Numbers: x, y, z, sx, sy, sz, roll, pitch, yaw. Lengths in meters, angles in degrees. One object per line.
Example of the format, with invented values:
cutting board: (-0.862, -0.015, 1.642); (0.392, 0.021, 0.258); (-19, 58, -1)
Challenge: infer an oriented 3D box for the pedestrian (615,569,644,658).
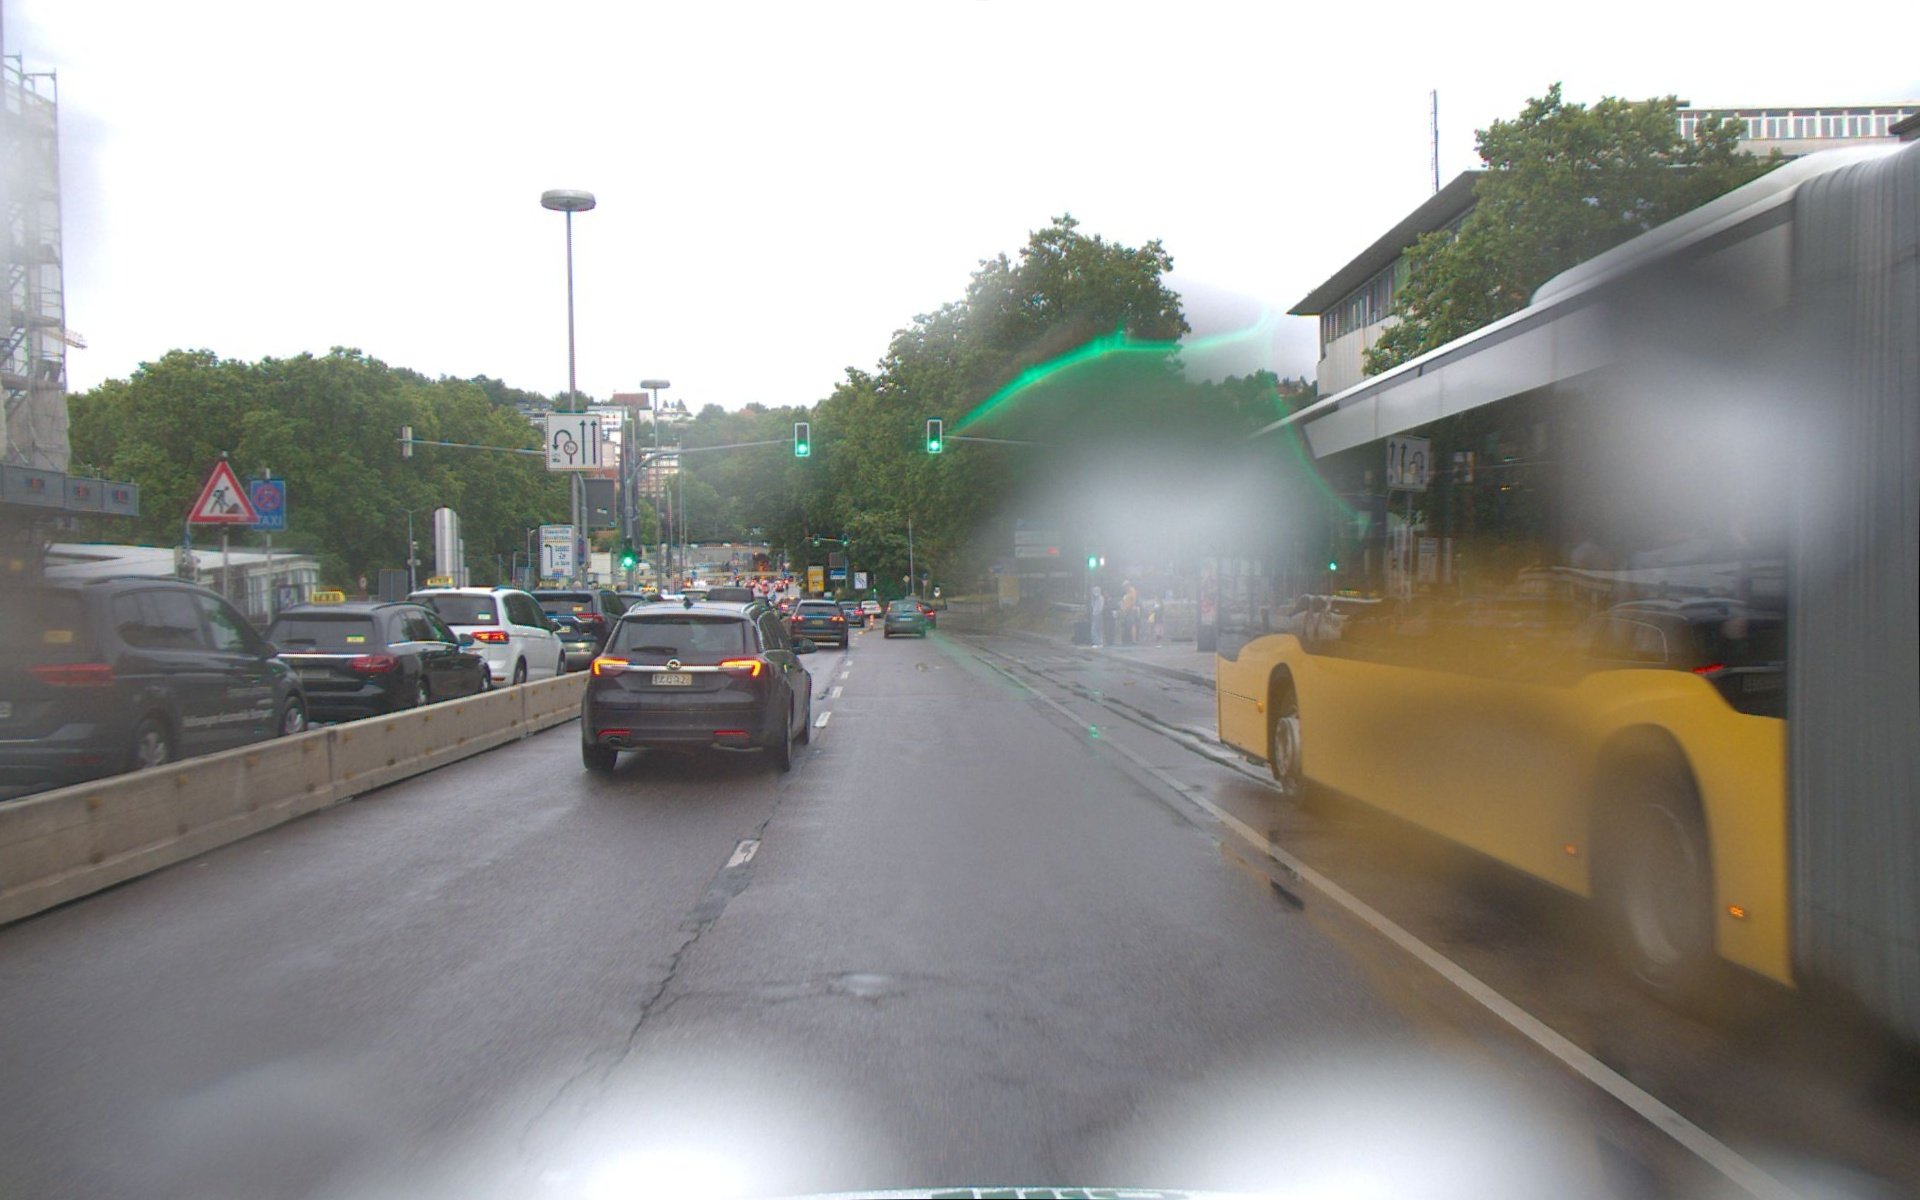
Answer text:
pedestrian: (-7.710, 0.312, 38.558); (0.517, 2.049, 0.890); (-1, 0, -4)

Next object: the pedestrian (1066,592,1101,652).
pedestrian: (3.902, 0.682, 52.268); (0.774, 1.871, 0.946); (-1, 0, -16)

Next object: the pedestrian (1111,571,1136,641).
pedestrian: (5.225, 0.184, 52.850); (0.693, 2.183, 0.722); (-1, 0, 10)

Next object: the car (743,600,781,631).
car: (-11.299, 0.875, 94.541); (1.955, 1.595, 4.870); (-2, 0, -5)

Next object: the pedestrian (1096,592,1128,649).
pedestrian: (4.686, 0.635, 51.011); (0.857, 1.720, 0.758); (-1, 0, -2)

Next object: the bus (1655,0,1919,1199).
bus: (4.008, -0.075, 1.148); (3.077, 3.304, 9.133); (0, -1, -1)

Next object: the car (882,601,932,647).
car: (-2.084, 0.918, 64.280); (1.815, 1.747, 3.997); (0, -1, -4)

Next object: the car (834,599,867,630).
car: (-6.383, 0.830, 96.366); (1.866, 1.747, 3.997); (0, -1, -4)

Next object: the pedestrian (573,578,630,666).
pedestrian: (-8.472, 0.514, 39.065); (0.819, 2.049, 1.024); (-1, 0, 36)

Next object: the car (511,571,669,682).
car: (-6.679, 0.451, 30.382); (1.954, 1.818, 4.845); (-1, 0, -3)

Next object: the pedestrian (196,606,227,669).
pedestrian: (-22.814, 1.132, 50.395); (0.683, 1.873, 0.528); (-1, 0, -4)

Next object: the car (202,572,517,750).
car: (-6.748, 0.620, 19.276); (2.008, 1.741, 5.052); (-1, 0, -3)

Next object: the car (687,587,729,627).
car: (-13.338, 0.401, 87.697); (1.955, 2.049, 5.362); (0, -1, -7)

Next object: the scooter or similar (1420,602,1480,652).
scooter or similar: (12.495, 0.678, 42.180); (1.346, 1.252, 0.566); (-1, -1, 43)

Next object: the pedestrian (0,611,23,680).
pedestrian: (-26.010, 1.235, 45.066); (0.663, 1.873, 0.717); (-1, 0, -15)

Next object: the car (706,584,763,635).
car: (-8.608, 0.370, 63.595); (1.955, 1.878, 5.056); (0, -1, -5)

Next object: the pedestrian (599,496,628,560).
pedestrian: (-10.398, -2.164, 49.688); (0.815, 1.919, 0.689); (-1, 2, -12)

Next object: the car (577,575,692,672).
car: (-6.966, 0.478, 35.817); (1.679, 1.925, 4.608); (-1, 0, -2)

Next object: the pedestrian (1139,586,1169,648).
pedestrian: (5.758, 0.504, 49.136); (0.533, 1.836, 0.750); (-1, 0, -29)

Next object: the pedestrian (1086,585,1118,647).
pedestrian: (4.255, 0.471, 49.547); (0.733, 1.836, 0.706); (-1, 0, -16)

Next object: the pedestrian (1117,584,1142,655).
pedestrian: (5.298, 0.602, 51.666); (0.545, 2.183, 0.665); (-1, 0, -16)

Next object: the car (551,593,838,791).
car: (-2.261, 0.722, 15.397); (1.839, 1.534, 4.852); (-1, 0, 0)

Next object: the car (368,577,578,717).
car: (-7.024, 0.628, 24.349); (1.954, 1.818, 4.451); (-1, 0, -3)

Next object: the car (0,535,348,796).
car: (-6.606, 0.443, 13.080); (1.954, 1.683, 4.639); (-1, 0, -3)

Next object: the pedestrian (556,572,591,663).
pedestrian: (-8.899, 0.394, 38.074); (0.609, 2.049, 0.836); (-1, 0, -2)

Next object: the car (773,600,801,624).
car: (-14.110, 0.986, 134.724); (1.958, 1.859, 3.988); (0, -1, -12)

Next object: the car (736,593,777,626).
car: (-9.751, 0.483, 79.510); (1.788, 1.537, 4.485); (0, -1, -5)

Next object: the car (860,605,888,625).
car: (-7.134, 1.254, 136.719); (1.782, 1.602, 3.988); (0, -1, -12)

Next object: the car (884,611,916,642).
car: (-3.196, 1.396, 88.374); (1.640, 1.609, 3.238); (0, -1, -2)

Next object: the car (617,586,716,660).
car: (-7.368, 0.553, 41.906); (1.750, 1.715, 4.665); (-1, 0, -2)

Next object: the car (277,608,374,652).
car: (-22.478, 1.037, 58.754); (1.953, 1.493, 3.999); (0, -1, -1)

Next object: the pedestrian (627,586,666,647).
pedestrian: (-9.863, 0.515, 52.028); (0.983, 1.919, 0.683); (-1, 0, 21)

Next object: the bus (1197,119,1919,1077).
bus: (3.799, 0.025, 10.312); (3.050, 3.261, 9.238); (0, -1, -2)

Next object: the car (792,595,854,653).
car: (-4.229, 0.725, 51.569); (1.794, 1.715, 4.131); (-1, 0, -3)
